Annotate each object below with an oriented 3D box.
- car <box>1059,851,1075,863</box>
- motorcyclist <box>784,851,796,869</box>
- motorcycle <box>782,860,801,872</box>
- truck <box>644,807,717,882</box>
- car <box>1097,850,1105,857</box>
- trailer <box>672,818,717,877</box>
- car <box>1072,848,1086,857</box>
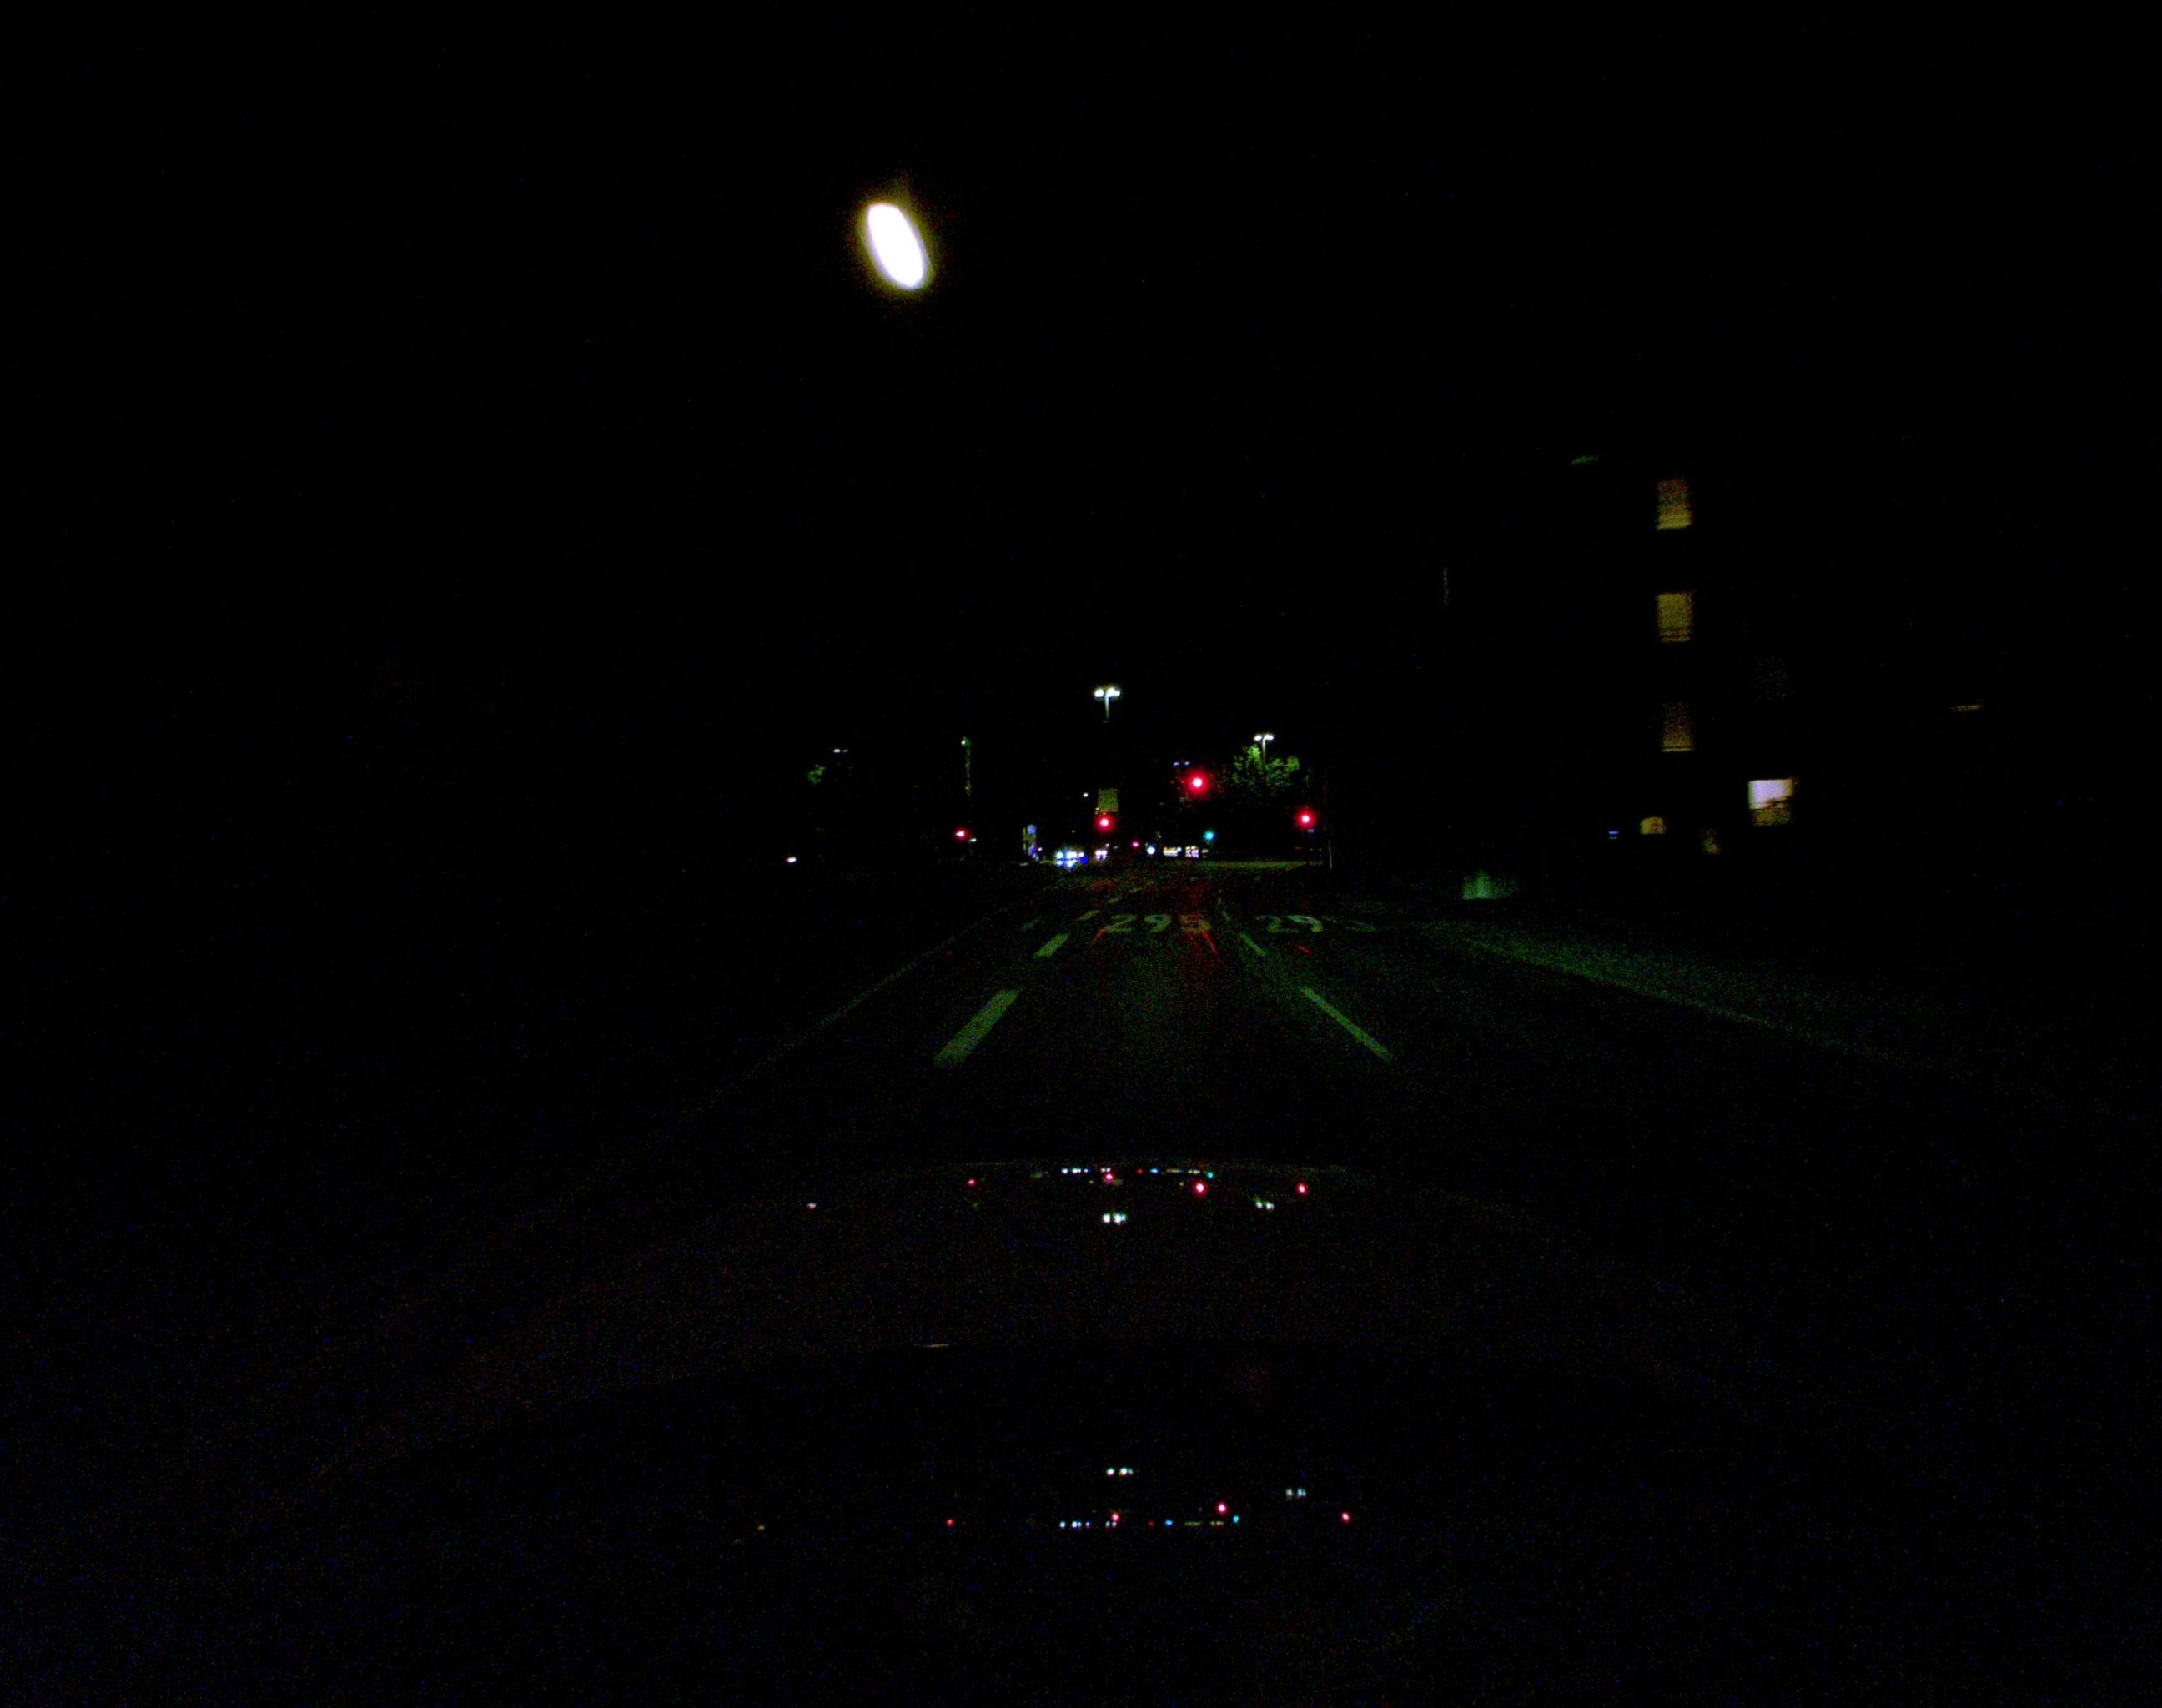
[{"bbox_3d":[-1.790,0.339,104.385,1.608,1.515,4.005,-1,0,5],"label":"car"},{"bbox_3d":[-21.324,0.435,59.726,0.652,1.261,0.572,0,0,-38],"label":"motorcyclist"},{"bbox_3d":[-21.329,0.884,59.977,0.582,0.896,2.131,-4,1,-38],"label":"motorcycle"},{"bbox_3d":[-22.578,-0.485,46.356,2.950,3.796,9.487,-1,0,-22],"label":"truck"},{"bbox_3d":[4.932,-0.051,200.992,1.750,1.728,3.552,-1,0,4],"label":"car"},{"bbox_3d":[-26.495,-0.412,56.024,2.625,3.791,6.462,-1,0,-24],"label":"trailer"},{"bbox_3d":[-0.225,-0.220,118.729,1.750,1.322,3.552,-1,0,4],"label":"car"}]
